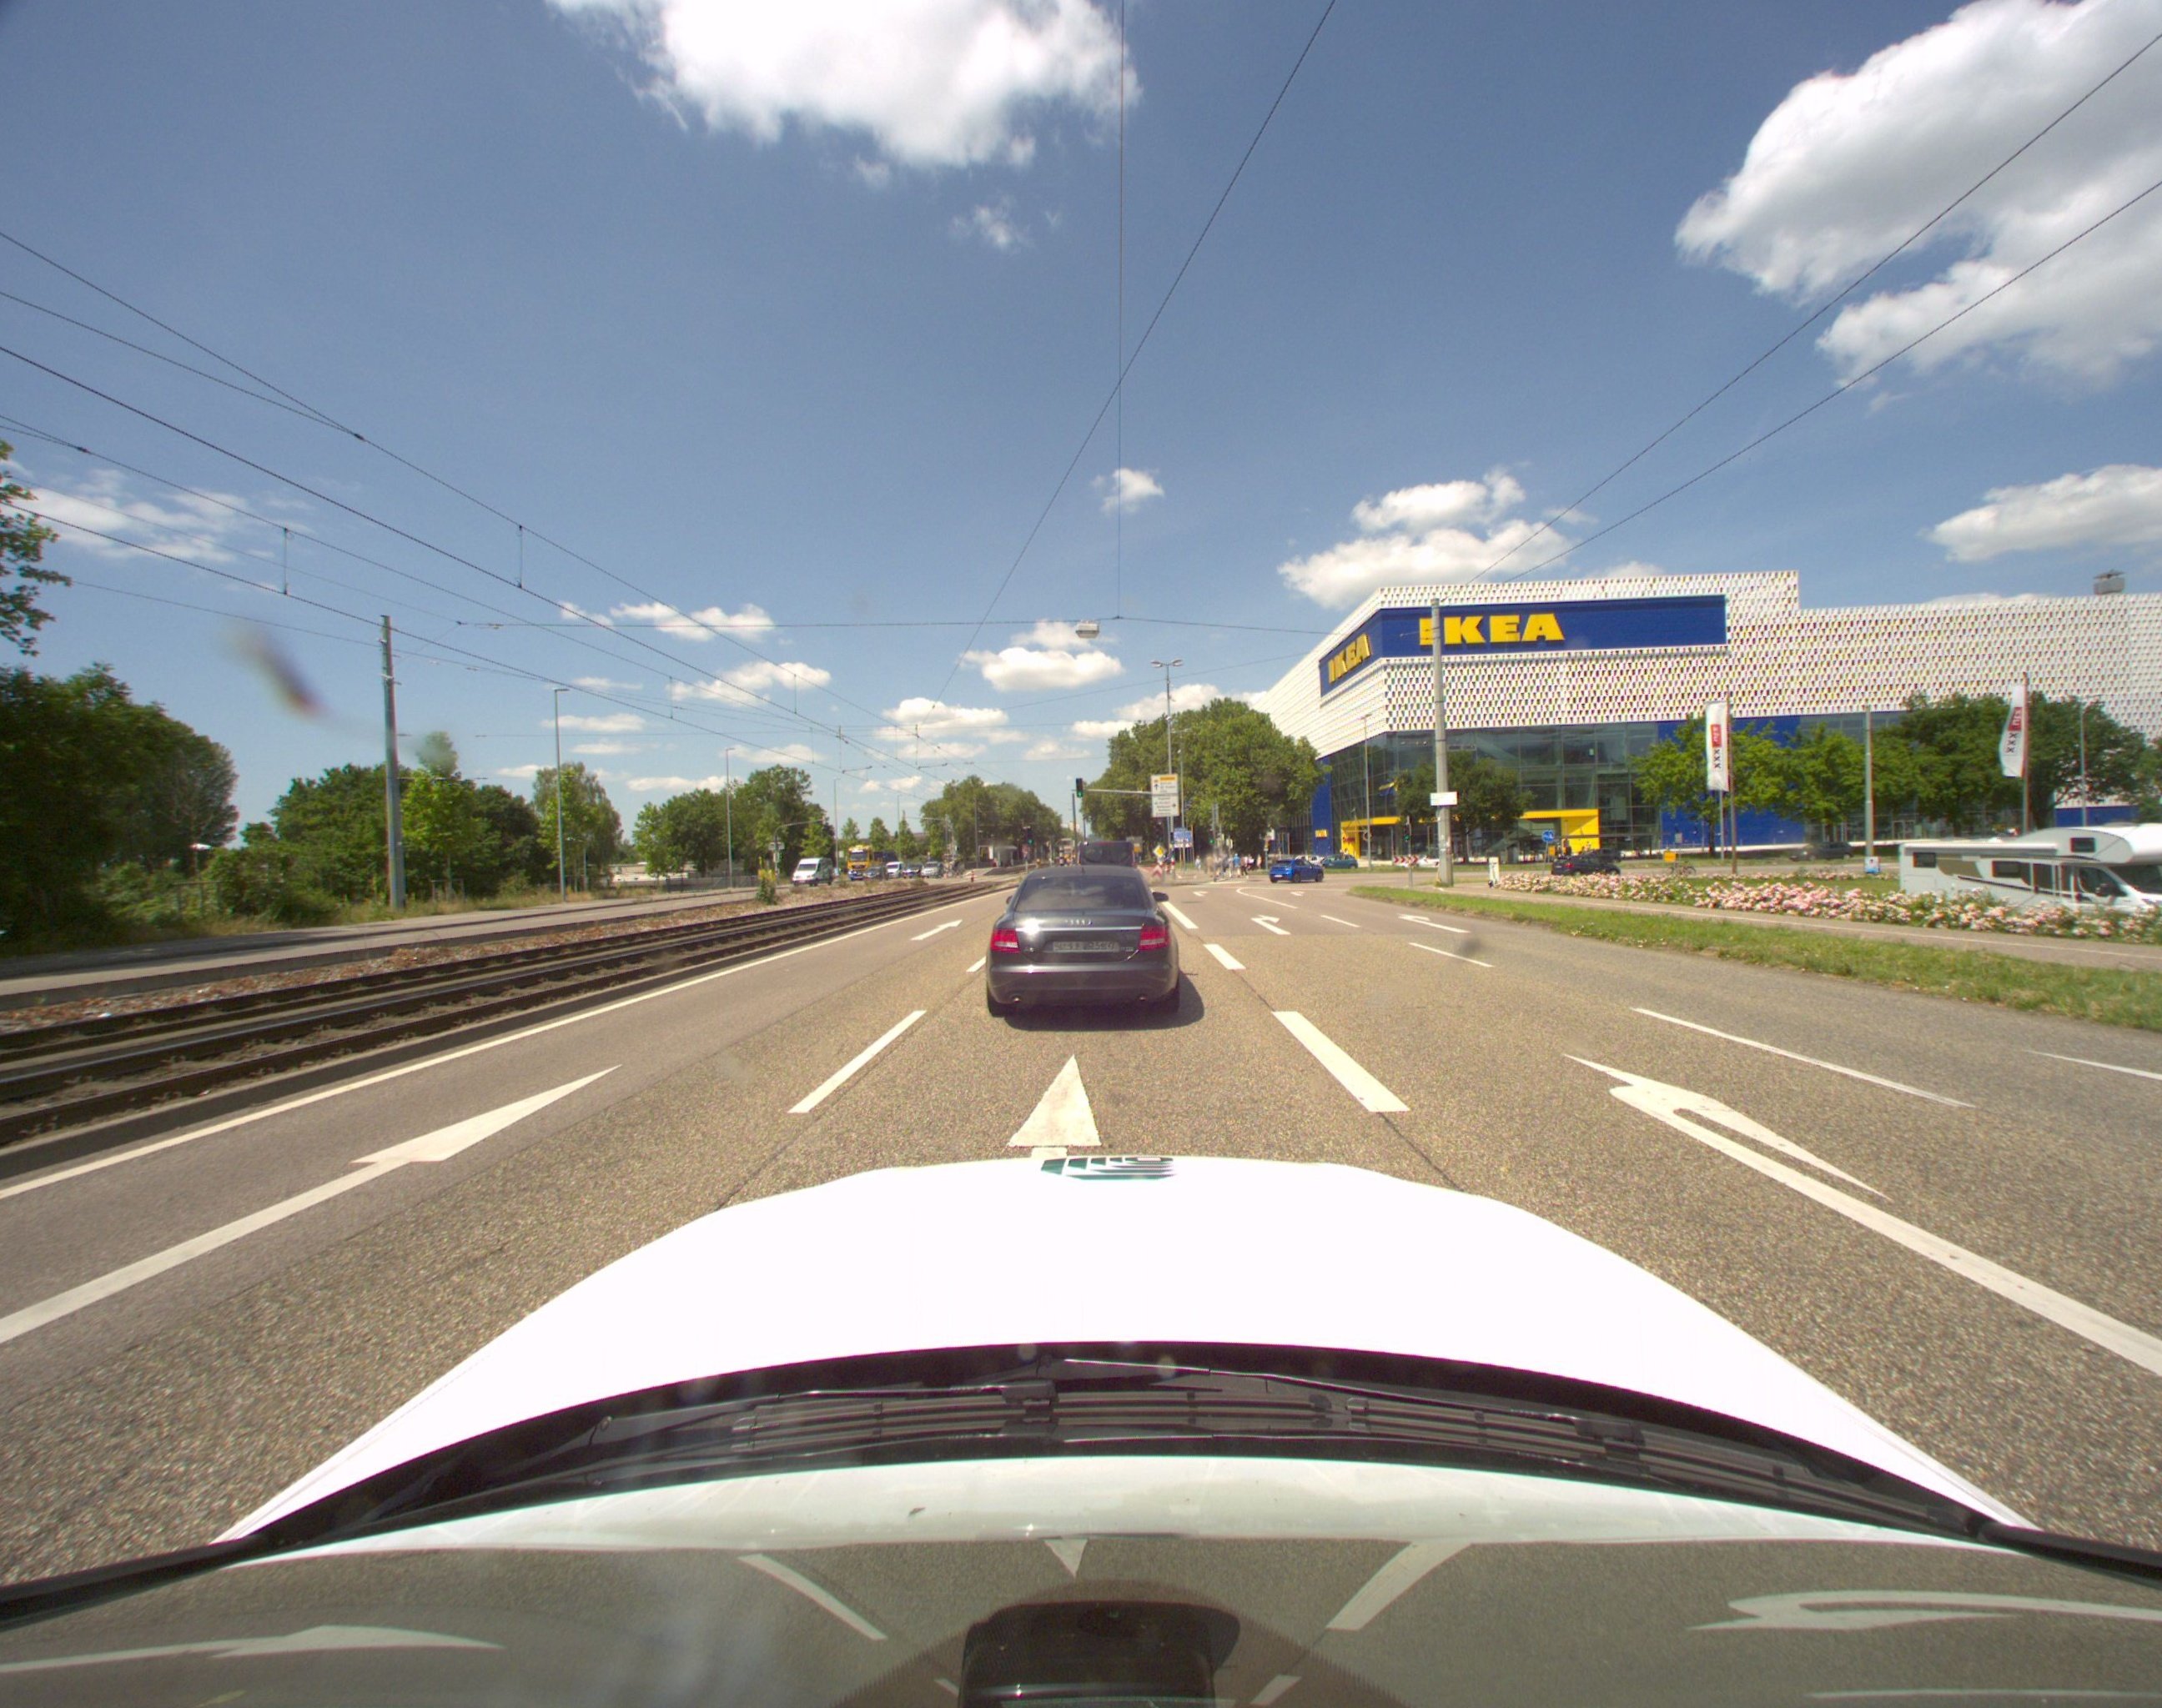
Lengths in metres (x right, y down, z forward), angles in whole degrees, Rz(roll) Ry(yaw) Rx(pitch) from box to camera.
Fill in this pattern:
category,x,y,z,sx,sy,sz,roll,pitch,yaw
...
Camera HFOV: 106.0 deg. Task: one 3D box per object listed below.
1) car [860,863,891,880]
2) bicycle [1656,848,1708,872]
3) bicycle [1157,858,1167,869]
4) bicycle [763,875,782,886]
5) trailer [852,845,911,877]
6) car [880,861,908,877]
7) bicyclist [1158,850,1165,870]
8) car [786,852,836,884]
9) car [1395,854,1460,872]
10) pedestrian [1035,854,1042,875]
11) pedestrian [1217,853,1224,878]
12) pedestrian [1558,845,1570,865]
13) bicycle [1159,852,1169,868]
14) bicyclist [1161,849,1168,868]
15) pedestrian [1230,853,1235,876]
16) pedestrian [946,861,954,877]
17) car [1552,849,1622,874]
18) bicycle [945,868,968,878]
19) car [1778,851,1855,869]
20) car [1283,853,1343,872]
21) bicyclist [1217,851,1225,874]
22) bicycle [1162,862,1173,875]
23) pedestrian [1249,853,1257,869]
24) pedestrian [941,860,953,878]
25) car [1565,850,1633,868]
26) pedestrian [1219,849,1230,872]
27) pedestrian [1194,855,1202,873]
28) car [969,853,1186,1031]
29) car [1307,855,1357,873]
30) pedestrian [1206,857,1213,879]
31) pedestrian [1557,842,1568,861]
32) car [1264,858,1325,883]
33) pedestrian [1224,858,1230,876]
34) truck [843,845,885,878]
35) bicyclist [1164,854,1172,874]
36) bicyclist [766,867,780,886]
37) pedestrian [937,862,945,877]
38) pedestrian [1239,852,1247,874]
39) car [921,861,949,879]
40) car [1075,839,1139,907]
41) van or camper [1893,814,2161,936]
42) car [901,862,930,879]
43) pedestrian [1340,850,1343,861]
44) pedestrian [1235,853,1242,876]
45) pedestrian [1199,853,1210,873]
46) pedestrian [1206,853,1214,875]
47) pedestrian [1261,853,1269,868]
category,x,y,z,sx,sy,sz,roll,pitch,yaw
car,-20.699,1.754,82.143,1.815,1.670,4.463,0,0,2
bicycle,36.994,0.367,50.153,2.410,1.481,0.990,-1,0,6
bicycle,7.214,0.847,72.448,0.685,0.993,2.753,-1,0,2
bicycle,-28.866,2.471,76.202,1.487,0.987,0.485,-1,-1,-2
trailer,-24.025,0.854,99.178,2.757,3.518,15.884,-1,0,2
car,-20.755,1.659,90.602,1.814,1.670,4.465,0,0,3
bicyclist,7.148,0.544,72.539,0.526,1.789,1.089,-1,-1,2
car,-24.593,1.216,74.528,2.235,2.588,6.236,-4,0,1
car,28.231,0.723,66.449,4.475,1.486,2.003,0,0,5
pedestrian,-4.097,1.052,78.751,0.683,2.014,0.572,-1,-1,-3
pedestrian,9.309,0.747,54.328,0.379,1.635,0.377,-1,-1,5
pedestrian,49.696,0.088,83.759,0.707,2.013,0.825,-1,0,4
bicycle,7.759,0.544,76.178,0.685,1.519,2.753,-1,0,2
bicyclist,7.752,0.406,75.566,0.526,1.789,1.088,-1,-1,2
pedestrian,10.777,0.763,57.901,0.319,1.635,0.377,-1,-1,5
pedestrian,-12.496,1.419,77.786,0.683,1.564,0.572,-1,-1,-2
car,33.285,0.511,53.594,4.100,1.526,1.754,-1,0,-21
bicycle,-11.597,1.745,75.780,2.054,0.925,0.751,-1,0,-8
car,61.359,0.465,68.011,4.475,1.486,2.003,0,0,5
car,18.938,0.709,66.701,4.475,1.486,2.003,0,0,5
bicyclist,11.037,0.660,64.131,0.525,1.764,0.831,-1,-1,15
bicycle,7.135,1.178,67.277,0.685,1.006,2.753,-1,0,2
pedestrian,17.324,0.723,81.921,0.698,1.635,0.615,-1,-1,21
pedestrian,-13.038,1.445,79.452,0.816,1.720,0.779,-1,-1,24
car,44.064,0.423,69.320,4.475,1.486,2.003,-1,0,5
pedestrian,11.564,0.533,65.598,0.678,1.846,0.711,-1,-1,27
pedestrian,9.827,0.835,68.291,0.490,1.520,0.710,-1,0,19
car,0.040,0.736,8.852,1.785,1.455,4.002,-2,0,2
car,21.511,0.877,69.982,3.770,1.486,2.003,0,0,5
pedestrian,9.396,1.032,59.413,0.443,1.635,0.430,-1,-1,5
pedestrian,50.051,-0.277,84.705,0.707,2.013,0.825,-1,0,4
car,12.894,0.952,49.019,1.820,1.454,4.024,0,0,44
pedestrian,10.369,0.941,57.934,0.371,1.304,0.365,-1,0,5
truck,-24.274,0.856,91.220,2.757,3.569,6.442,-1,0,2
bicyclist,7.199,0.839,67.319,0.526,1.676,1.088,-1,-1,2
bicyclist,-28.791,2.069,76.141,1.116,1.774,0.340,-1,-1,-3
pedestrian,-13.182,1.474,76.690,0.683,1.443,0.572,-1,-1,-2
pedestrian,12.367,0.692,62.172,0.518,1.670,0.495,-1,0,5
car,-14.961,1.625,83.631,1.814,1.670,4.467,0,0,4
car,0.829,0.564,25.759,1.830,1.950,4.001,-1,-1,2
van or camper,28.157,0.508,23.610,2.494,3.020,7.235,-1,0,6
car,-17.669,1.734,87.261,1.814,1.670,4.467,0,0,5
pedestrian,33.168,0.183,103.829,0.287,1.342,0.266,-1,-1,1
pedestrian,11.188,0.771,57.838,0.396,1.635,0.371,-1,-1,5
pedestrian,9.933,0.733,65.575,0.706,1.635,0.711,-1,-1,27
pedestrian,9.405,0.721,59.434,0.551,1.635,0.433,-1,-1,4
pedestrian,18.979,0.632,83.949,0.698,1.544,0.681,-1,0,21
